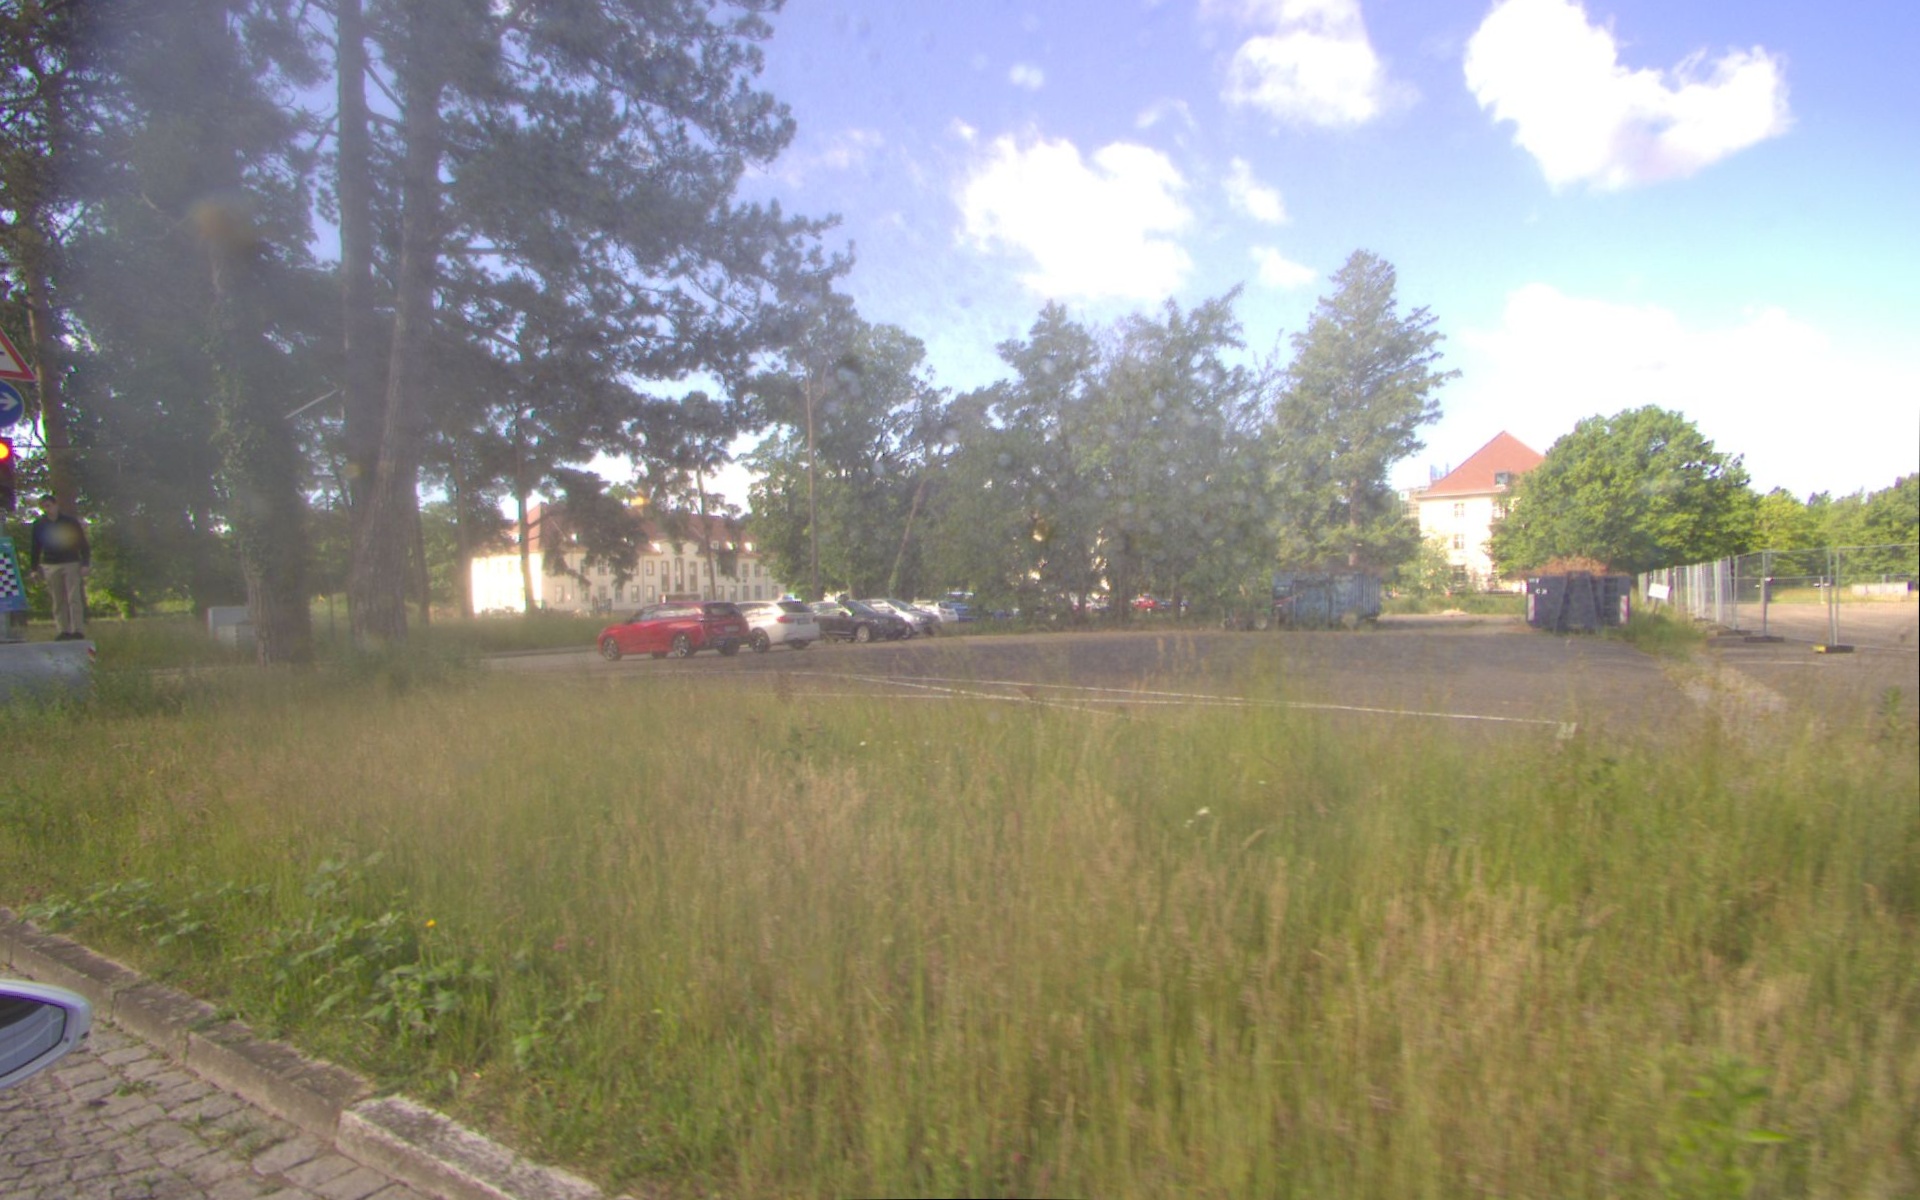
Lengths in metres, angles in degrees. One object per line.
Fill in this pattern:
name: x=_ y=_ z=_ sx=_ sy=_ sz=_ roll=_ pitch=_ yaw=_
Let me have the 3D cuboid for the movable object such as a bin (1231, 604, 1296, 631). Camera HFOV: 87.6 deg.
movable object such as a bin: x=8.977 y=0.517 z=29.612 sx=1.697 sy=0.763 sz=1.143 roll=-1 pitch=0 yaw=26

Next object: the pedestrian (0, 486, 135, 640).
pedestrian: x=-11.255 y=-0.451 z=12.555 sx=1.154 sy=1.821 sz=1.057 roll=-2 pitch=2 yaw=-28

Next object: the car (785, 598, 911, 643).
car: x=-3.709 y=0.669 z=33.006 sx=3.988 sy=1.332 sz=1.612 roll=-1 pitch=1 yaw=33

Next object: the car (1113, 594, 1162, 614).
car: x=14.821 y=0.357 z=83.632 sx=3.682 sy=1.568 sz=1.704 roll=-1 pitch=-1 yaw=33

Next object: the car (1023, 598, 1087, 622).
car: x=6.676 y=0.717 z=70.461 sx=4.181 sy=1.568 sz=1.720 roll=-1 pitch=-1 yaw=33

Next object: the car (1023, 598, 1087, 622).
car: x=6.662 y=0.717 z=70.470 sx=4.181 sy=1.568 sz=1.720 roll=-1 pitch=-1 yaw=33

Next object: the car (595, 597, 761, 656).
car: x=-7.337 y=0.710 z=25.949 sx=4.266 sy=1.417 sz=1.744 roll=-2 pitch=-1 yaw=33

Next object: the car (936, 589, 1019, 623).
car: x=1.055 y=0.405 z=60.379 sx=4.677 sy=1.973 sz=1.981 roll=-1 pitch=-1 yaw=33

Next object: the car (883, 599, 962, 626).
car: x=-2.131 y=0.711 z=56.198 sx=4.181 sy=1.487 sz=1.720 roll=-1 pitch=-1 yaw=33

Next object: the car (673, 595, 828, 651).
car: x=-5.982 y=0.659 z=28.456 sx=4.180 sy=1.396 sz=1.775 roll=-3 pitch=-1 yaw=31

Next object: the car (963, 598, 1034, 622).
car: x=2.406 y=0.655 z=62.686 sx=4.181 sy=1.443 sz=1.720 roll=-1 pitch=-1 yaw=33

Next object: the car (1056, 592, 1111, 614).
car: x=9.065 y=0.248 z=73.417 sx=3.640 sy=1.568 sz=1.704 roll=-1 pitch=-1 yaw=33

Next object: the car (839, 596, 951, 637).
car: x=-2.342 y=0.607 z=35.662 sx=3.740 sy=1.390 sz=1.719 roll=-1 pitch=-1 yaw=34
